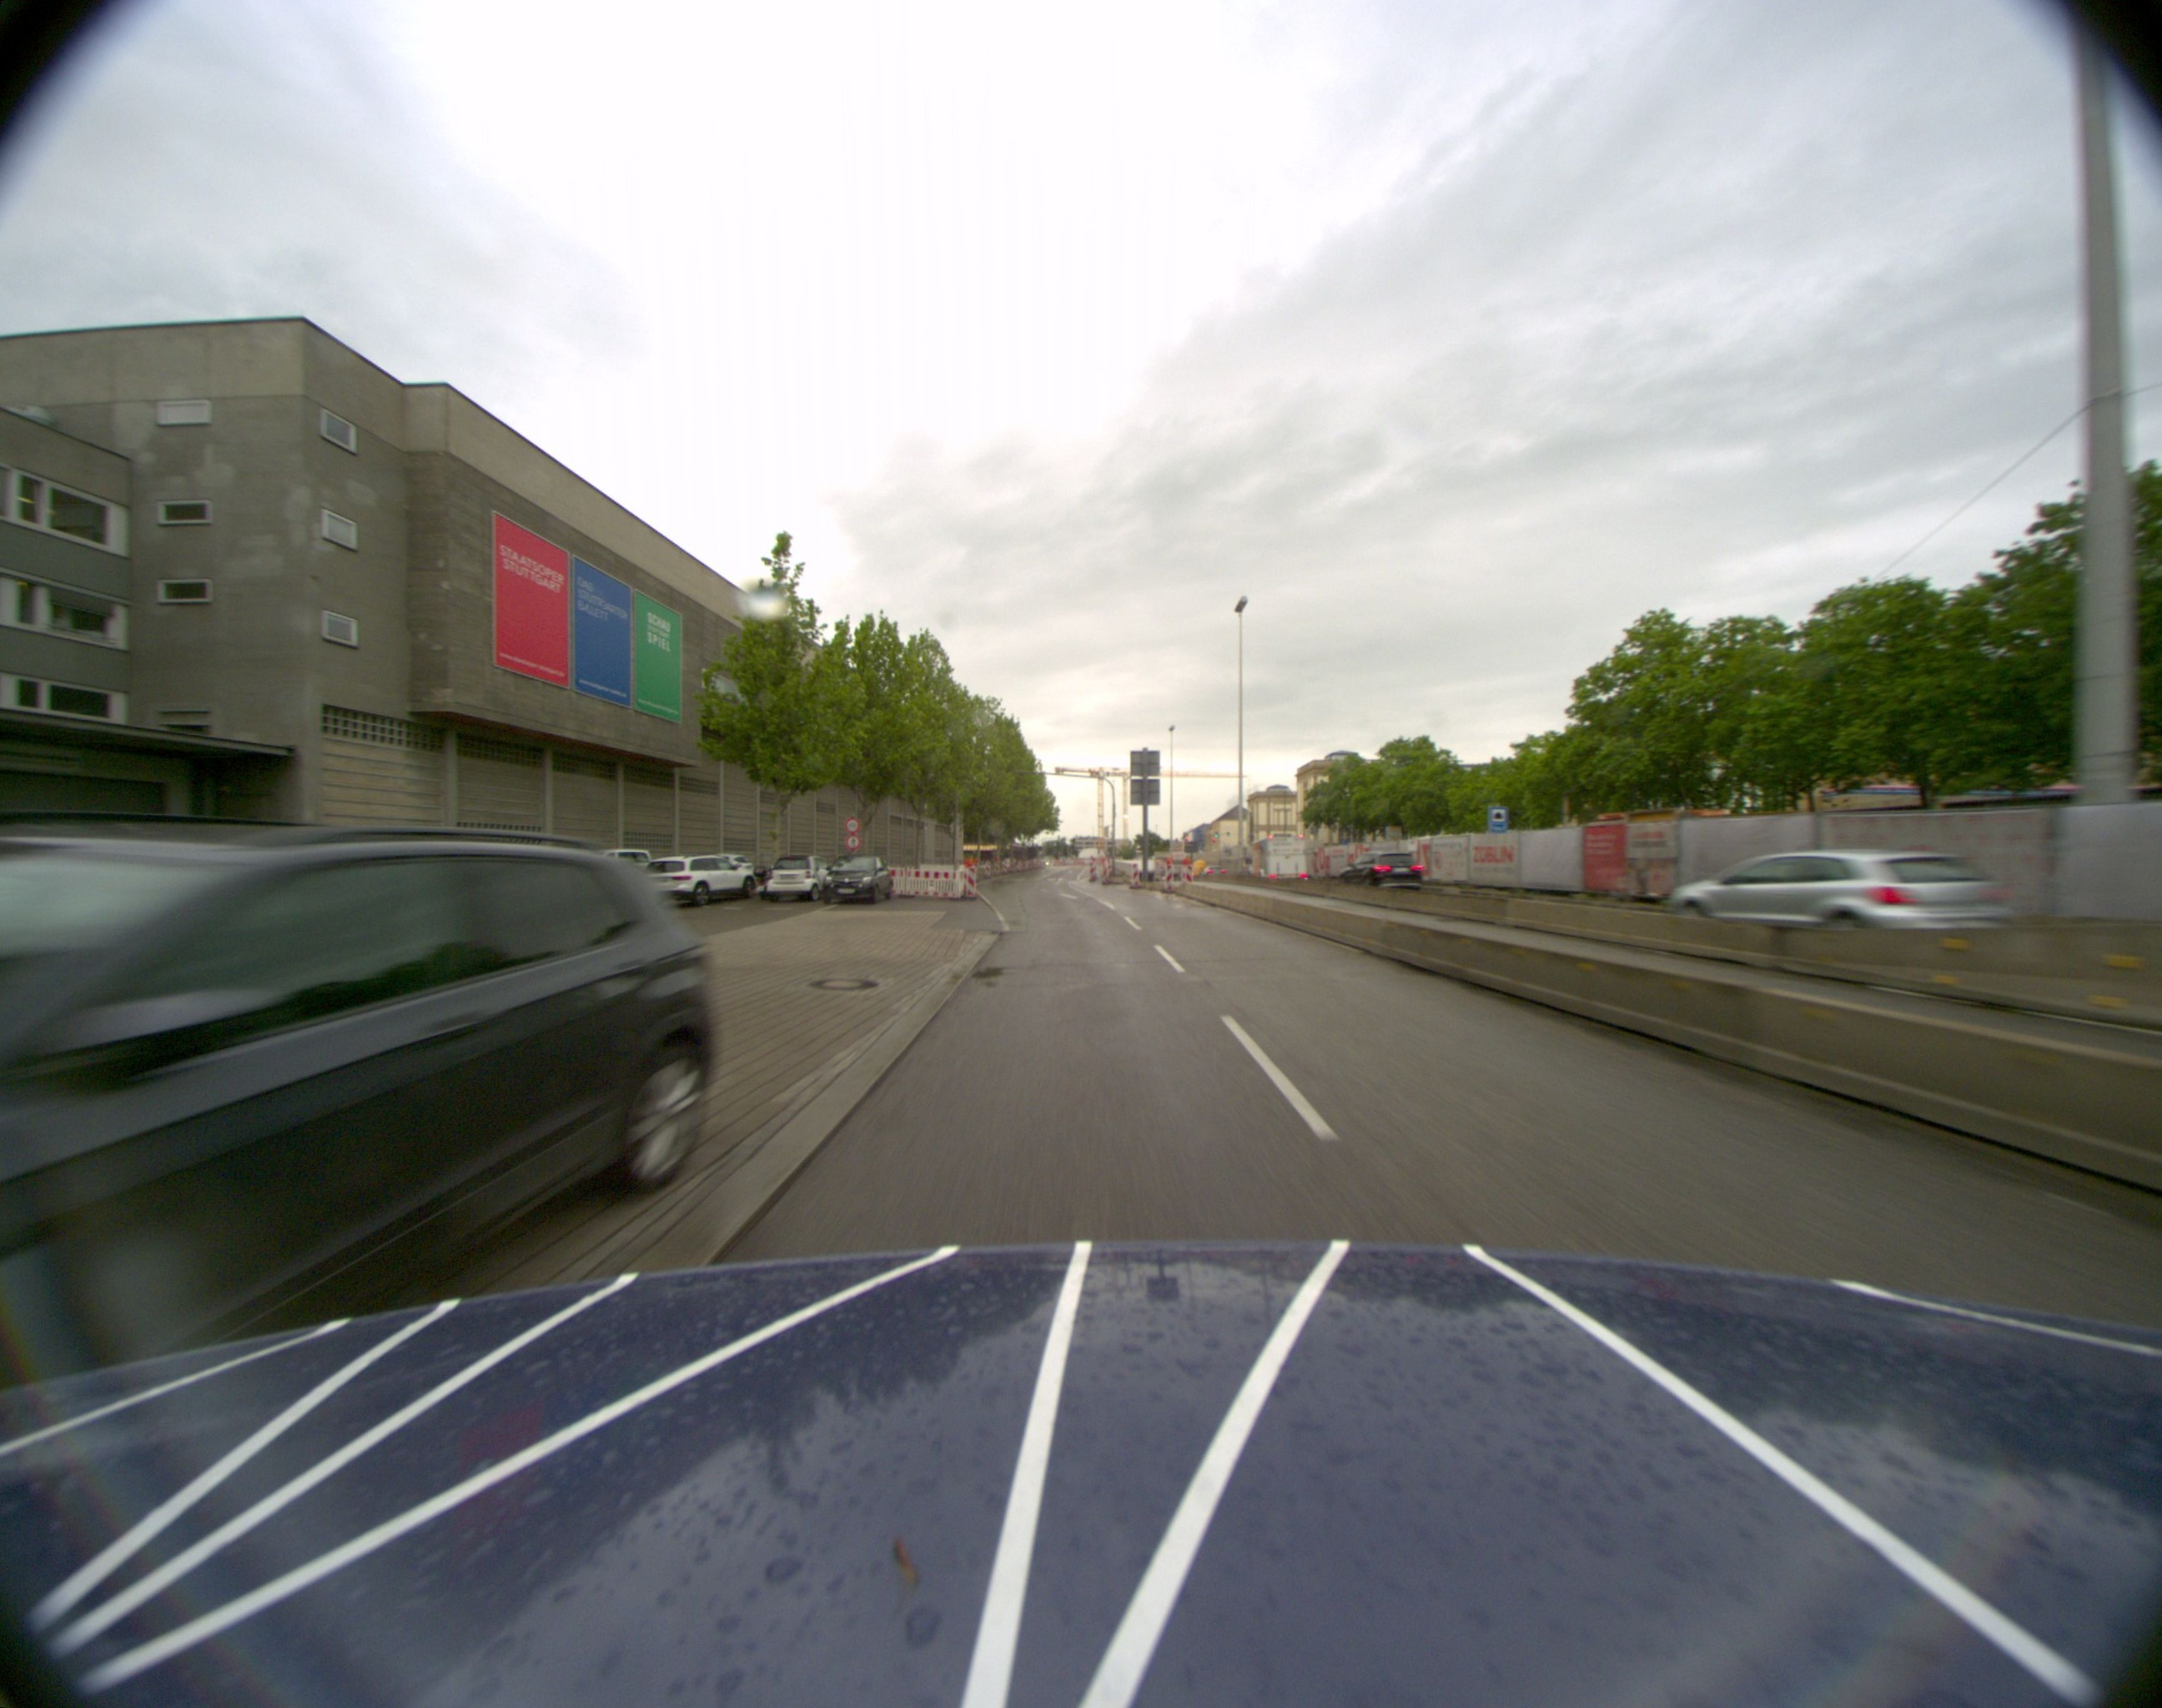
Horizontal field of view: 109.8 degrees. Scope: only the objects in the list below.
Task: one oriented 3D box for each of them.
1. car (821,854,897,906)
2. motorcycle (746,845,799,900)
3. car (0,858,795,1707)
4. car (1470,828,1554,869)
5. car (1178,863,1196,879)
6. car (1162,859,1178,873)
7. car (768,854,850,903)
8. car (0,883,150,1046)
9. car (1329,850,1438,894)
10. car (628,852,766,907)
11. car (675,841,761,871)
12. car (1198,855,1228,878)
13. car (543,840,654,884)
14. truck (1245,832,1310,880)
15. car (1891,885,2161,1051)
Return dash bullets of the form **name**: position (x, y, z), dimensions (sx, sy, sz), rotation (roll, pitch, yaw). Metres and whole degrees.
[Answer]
- **car**: position (-7.204, 0.797, 24.999), dimensions (1.692, 1.486, 3.618), rotation (-1, 1, -5)
- **motorcycle**: position (-10.971, 0.620, 27.143), dimensions (0.750, 1.893, 2.590), rotation (0, 1, 1)
- **car**: position (-2.620, 0.834, 2.083), dimensions (1.876, 1.609, 4.405), rotation (1, 0, 2)
- **car**: position (22.567, -0.255, 40.031), dimensions (1.998, 2.002, 4.718), rotation (0, 0, 3)
- **car**: position (12.824, 2.018, 92.217), dimensions (1.704, 1.857, 3.357), rotation (1, 1, 0)
- **car**: position (13.551, 1.764, 115.738), dimensions (1.902, 2.002, 4.000), rotation (1, 1, 1)
- **car**: position (-9.437, 0.809, 26.558), dimensions (1.584, 1.528, 3.022), rotation (1, 1, 5)
- **car**: position (-10.468, 1.029, 5.806), dimensions (1.524, 1.402, 4.128), rotation (0, 1, 2)
- **car**: position (11.339, 0.628, 28.880), dimensions (1.926, 1.521, 4.758), rotation (0, 0, -5)
- **car**: position (-13.070, 0.797, 26.217), dimensions (1.958, 1.674, 4.494), rotation (-3, 0, 8)
- **car**: position (-19.782, 0.105, 41.491), dimensions (3.847, 1.570, 1.779), rotation (1, 1, 2)
- **car**: position (12.432, 1.174, 71.909), dimensions (1.913, 2.002, 4.757), rotation (1, 1, 0)
- **car**: position (-21.104, 0.309, 33.498), dimensions (1.777, 1.777, 4.883), rotation (1, 1, 0)
- **truck**: position (11.849, 0.134, 46.425), dimensions (2.403, 2.703, 7.356), rotation (0, 0, 3)
- **car**: position (11.524, 1.164, 7.813), dimensions (1.999, 1.521, 3.998), rotation (0, 0, -5)
